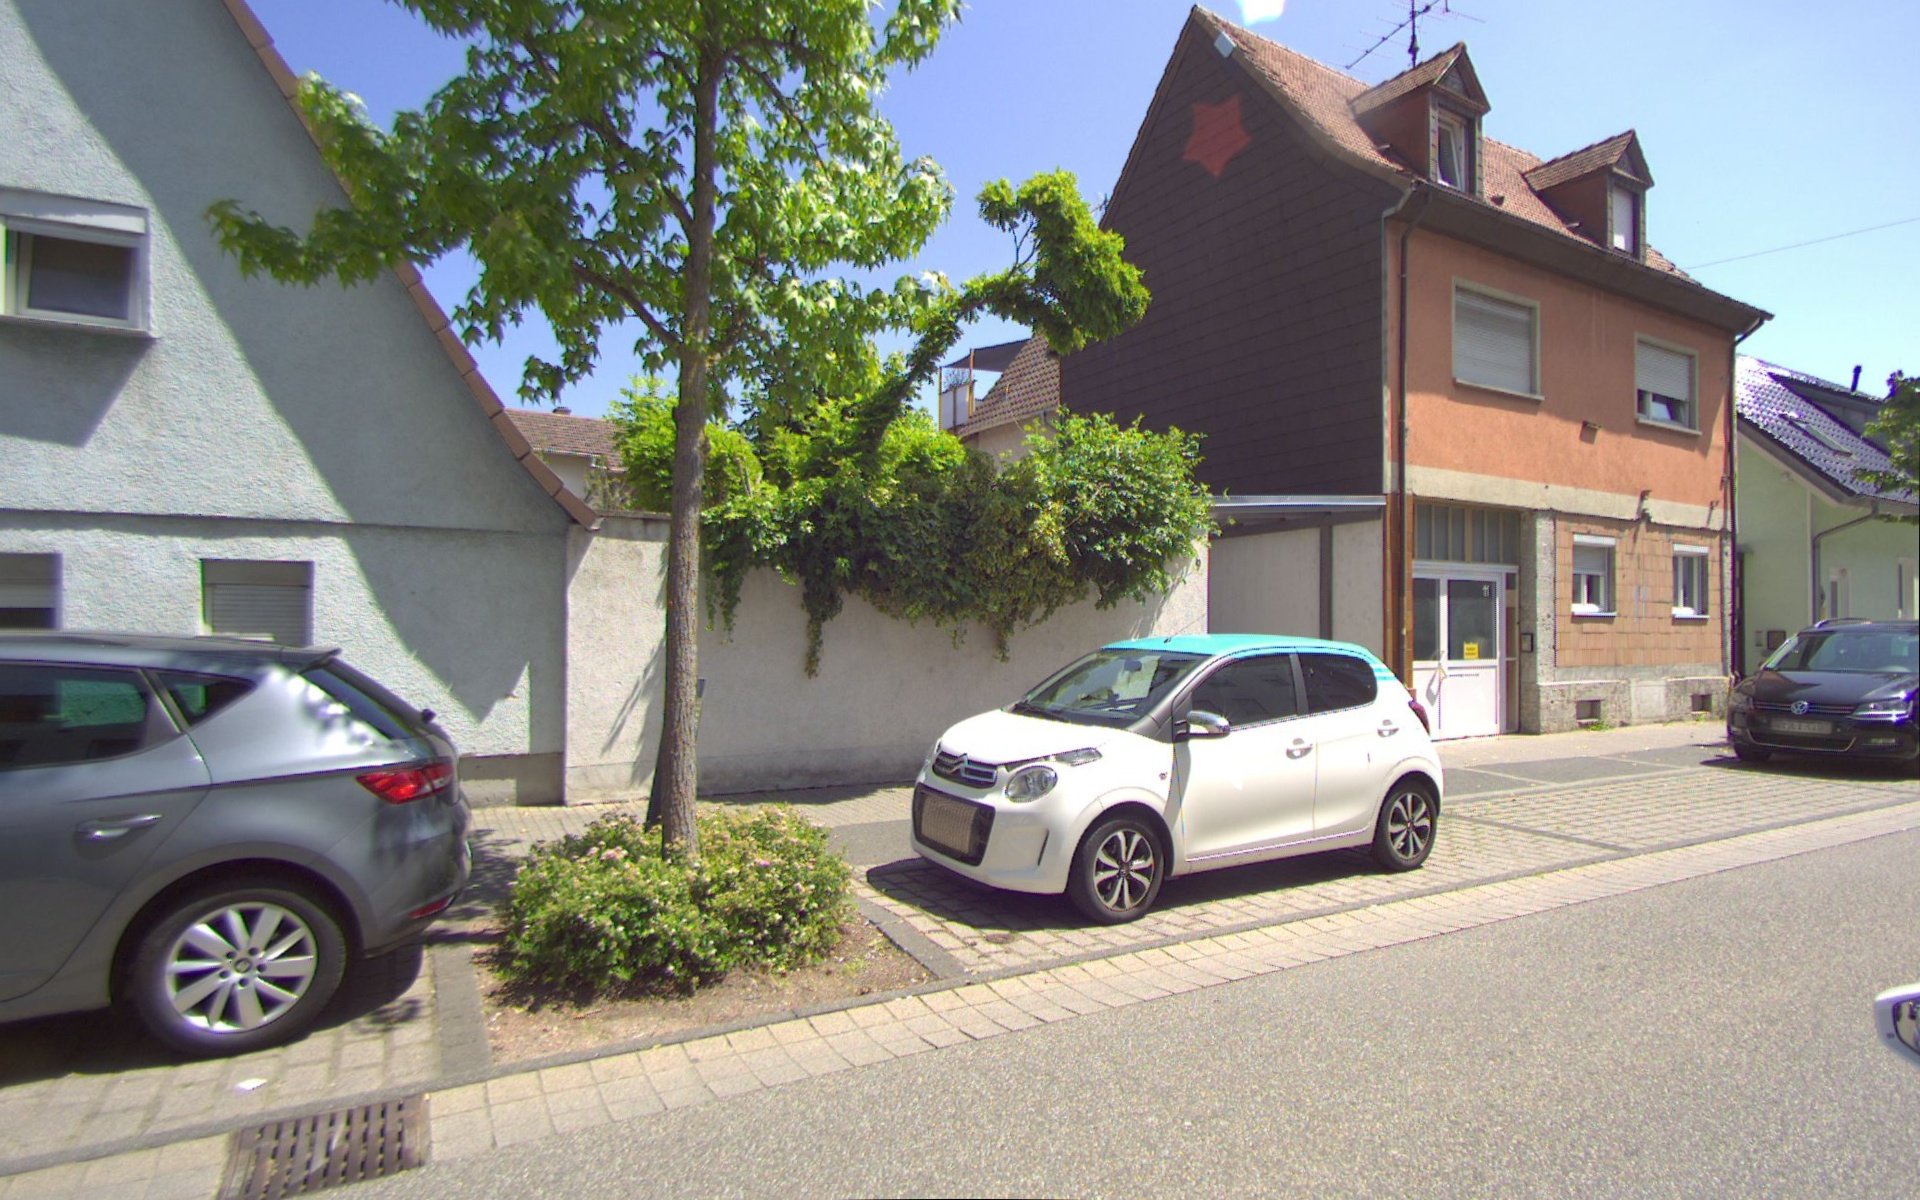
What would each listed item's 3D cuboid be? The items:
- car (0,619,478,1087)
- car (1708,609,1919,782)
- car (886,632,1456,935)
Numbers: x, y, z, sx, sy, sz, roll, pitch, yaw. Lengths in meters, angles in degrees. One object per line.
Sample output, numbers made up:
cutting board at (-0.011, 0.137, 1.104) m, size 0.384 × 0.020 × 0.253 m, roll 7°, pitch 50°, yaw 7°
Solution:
car at (-3.994, 0.796, 3.534) m, size 4.049 × 1.449 × 1.638 m, roll 1°, pitch -1°, yaw -30°
car at (11.077, 1.022, 12.110) m, size 4.468 × 1.749 × 1.766 m, roll 1°, pitch -1°, yaw -31°
car at (1.377, 0.936, 6.351) m, size 3.369 × 1.449 × 1.547 m, roll 1°, pitch -2°, yaw -30°
